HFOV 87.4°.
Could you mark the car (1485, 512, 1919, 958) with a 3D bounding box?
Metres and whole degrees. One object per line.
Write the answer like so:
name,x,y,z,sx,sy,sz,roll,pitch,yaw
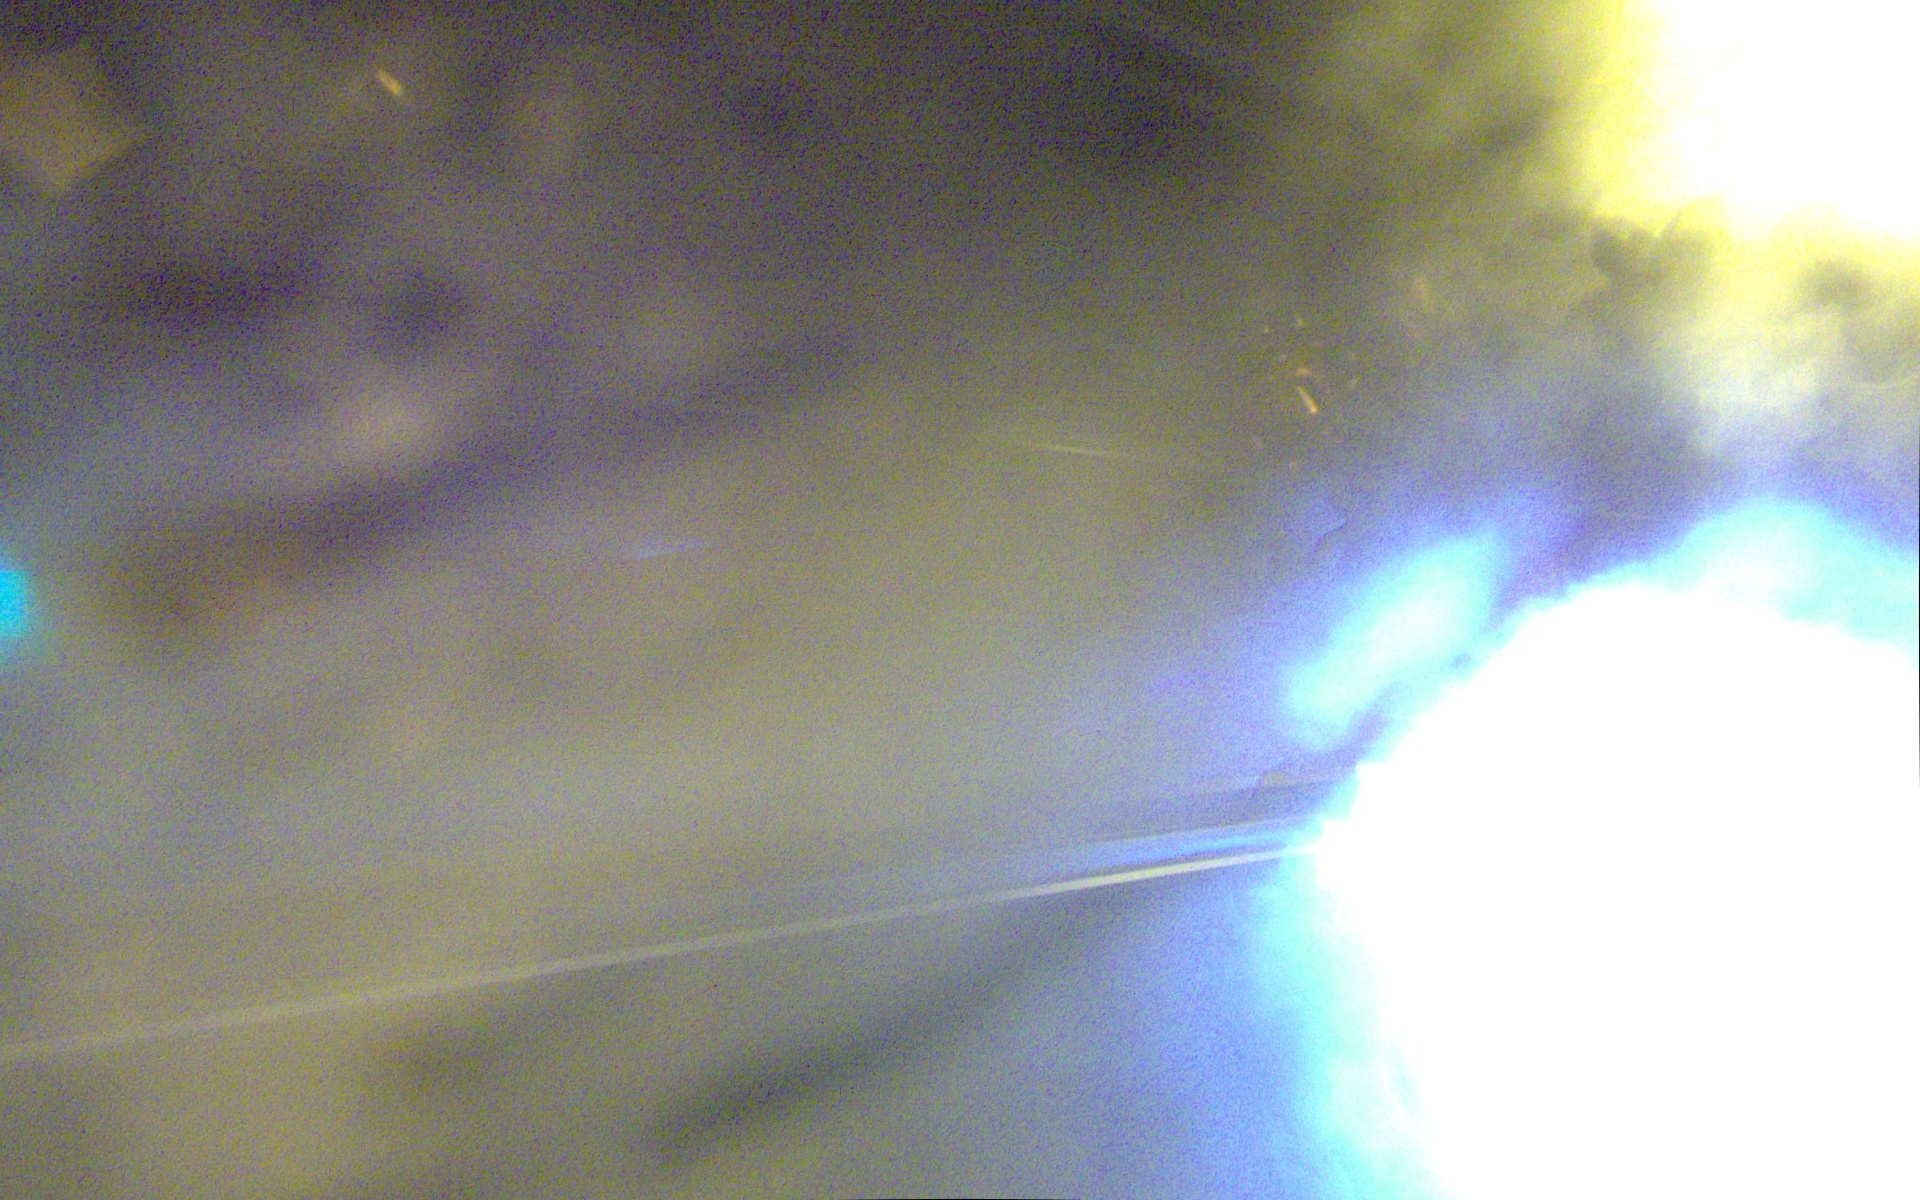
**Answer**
car,5.474,0.623,6.259,4.553,1.925,1.753,1,-1,-30
